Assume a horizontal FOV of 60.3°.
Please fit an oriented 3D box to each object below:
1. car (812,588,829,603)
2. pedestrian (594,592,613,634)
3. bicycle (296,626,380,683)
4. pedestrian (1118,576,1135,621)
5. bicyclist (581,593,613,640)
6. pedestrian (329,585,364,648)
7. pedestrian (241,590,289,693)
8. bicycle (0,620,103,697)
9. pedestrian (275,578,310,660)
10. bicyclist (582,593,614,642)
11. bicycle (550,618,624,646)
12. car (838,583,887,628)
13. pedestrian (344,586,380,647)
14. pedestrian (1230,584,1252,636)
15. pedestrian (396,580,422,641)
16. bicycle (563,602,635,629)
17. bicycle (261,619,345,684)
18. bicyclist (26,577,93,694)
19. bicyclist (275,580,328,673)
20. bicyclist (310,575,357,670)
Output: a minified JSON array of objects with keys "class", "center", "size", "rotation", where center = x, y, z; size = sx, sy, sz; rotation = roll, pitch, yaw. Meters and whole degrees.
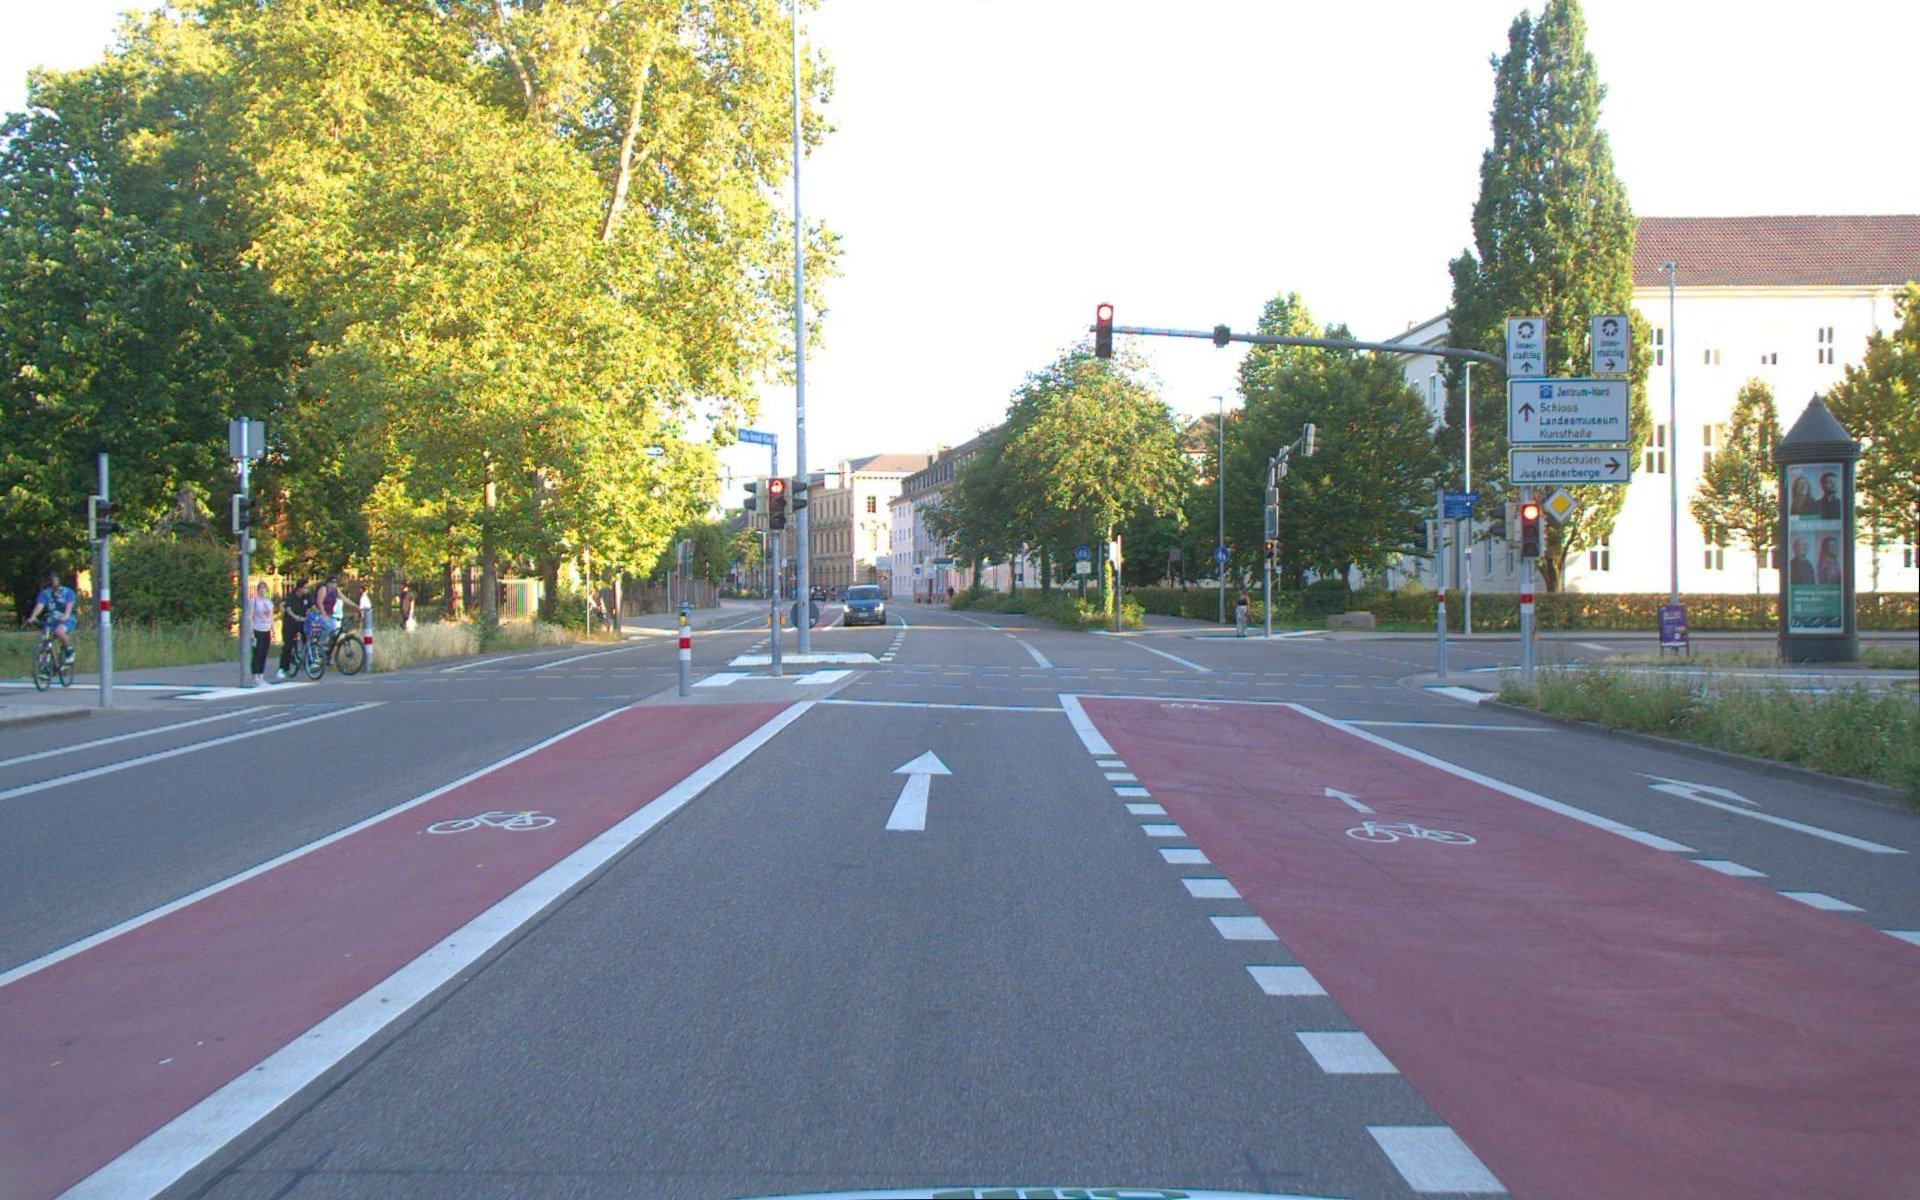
[{"class":"car","center":[-15.697,-0.488,186.014],"size":[1.784,1.616,3.996],"rotation":[-1,1,-5]},{"class":"pedestrian","center":[-13.776,0.510,63.903],"size":[0.586,1.601,0.646],"rotation":[0,0,0]},{"class":"bicycle","center":[-11.971,1.029,31.819],"size":[1.734,1.048,0.578],"rotation":[0,0,32]},{"class":"pedestrian","center":[7.663,-0.086,76.185],"size":[0.622,2.049,0.720],"rotation":[1,0,-3]},{"class":"bicyclist","center":[-12.878,0.592,58.699],"size":[0.938,1.659,0.753],"rotation":[0,0,1]},{"class":"pedestrian","center":[-20.447,0.540,55.114],"size":[0.786,2.049,0.993],"rotation":[1,0,0]},{"class":"pedestrian","center":[-11.805,0.700,28.107],"size":[0.594,1.725,0.498],"rotation":[0,0,1]},{"class":"bicycle","center":[-14.530,0.909,26.406],"size":[0.755,1.120,2.120],"rotation":[0,0,-5]},{"class":"pedestrian","center":[-16.783,0.478,41.586],"size":[0.644,2.049,0.598],"rotation":[1,0,-38]},{"class":"bicyclist","center":[-12.571,0.600,57.487],"size":[0.938,1.659,0.753],"rotation":[0,0,1]},{"class":"bicycle","center":[-12.953,1.099,57.502],"size":[2.380,0.940,0.775],"rotation":[0,0,1]},{"class":"car","center":[-4.073,0.214,69.579],"size":[1.812,1.750,4.294],"rotation":[-2,0,-1]},{"class":"pedestrian","center":[-20.376,0.564,56.381],"size":[0.744,2.049,1.078],"rotation":[1,0,5]},{"class":"pedestrian","center":[9.154,0.320,53.952],"size":[0.587,1.664,0.691],"rotation":[1,1,1]},{"class":"pedestrian","center":[-18.641,0.359,55.984],"size":[0.626,2.049,0.701],"rotation":[0,0,2]},{"class":"bicycle","center":[-12.811,0.553,58.695],"size":[2.380,0.940,0.775],"rotation":[0,0,1]},{"class":"bicycle","center":[-11.979,0.929,30.143],"size":[1.535,1.131,0.631],"rotation":[0,0,31]},{"class":"bicyclist","center":[-14.468,0.565,26.587],"size":[0.721,1.856,0.711],"rotation":[-1,0,-5]},{"class":"bicyclist","center":[-12.002,0.472,30.152],"size":[0.626,1.678,0.629],"rotation":[0,0,31]},{"class":"bicyclist","center":[-12.075,0.433,31.880],"size":[0.626,1.811,0.575],"rotation":[0,0,31]}]
